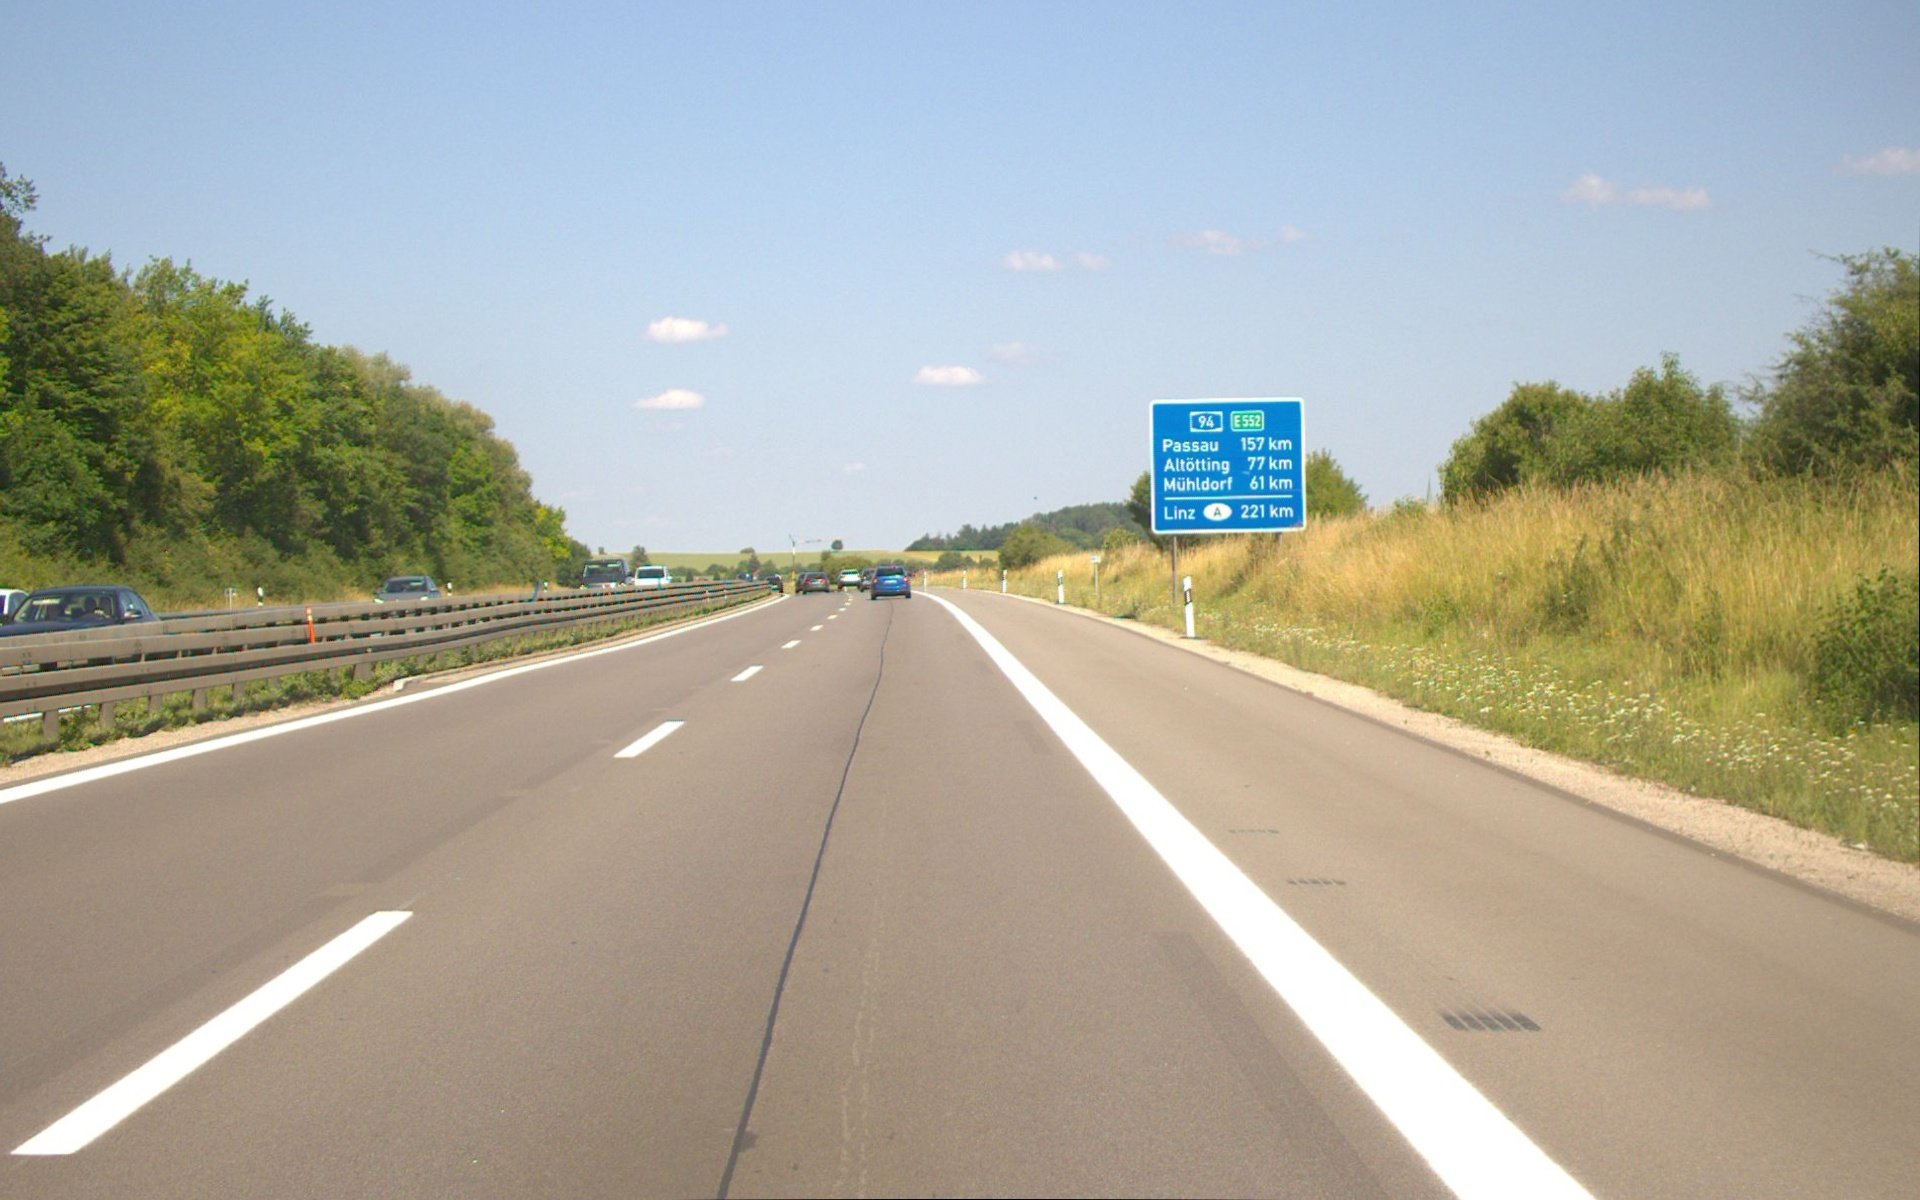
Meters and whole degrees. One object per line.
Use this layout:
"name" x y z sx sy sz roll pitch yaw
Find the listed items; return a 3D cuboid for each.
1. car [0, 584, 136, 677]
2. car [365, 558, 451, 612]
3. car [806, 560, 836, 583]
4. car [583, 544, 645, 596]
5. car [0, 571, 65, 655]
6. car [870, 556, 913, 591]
"car" -12.338 0.388 46.454 1.522 1.152 3.766 -1 1 -1
"car" -17.171 -0.488 107.128 1.993 1.606 4.487 -1 1 -1
"car" -9.300 -1.908 230.042 1.829 1.448 3.592 -2 0 0
"car" -13.828 -1.215 137.492 1.993 1.966 5.039 -1 1 -1
"car" -16.472 0.214 58.284 1.522 1.348 4.232 -1 1 -1
"car" -2.981 -1.162 149.990 1.676 1.448 3.592 -2 0 1
